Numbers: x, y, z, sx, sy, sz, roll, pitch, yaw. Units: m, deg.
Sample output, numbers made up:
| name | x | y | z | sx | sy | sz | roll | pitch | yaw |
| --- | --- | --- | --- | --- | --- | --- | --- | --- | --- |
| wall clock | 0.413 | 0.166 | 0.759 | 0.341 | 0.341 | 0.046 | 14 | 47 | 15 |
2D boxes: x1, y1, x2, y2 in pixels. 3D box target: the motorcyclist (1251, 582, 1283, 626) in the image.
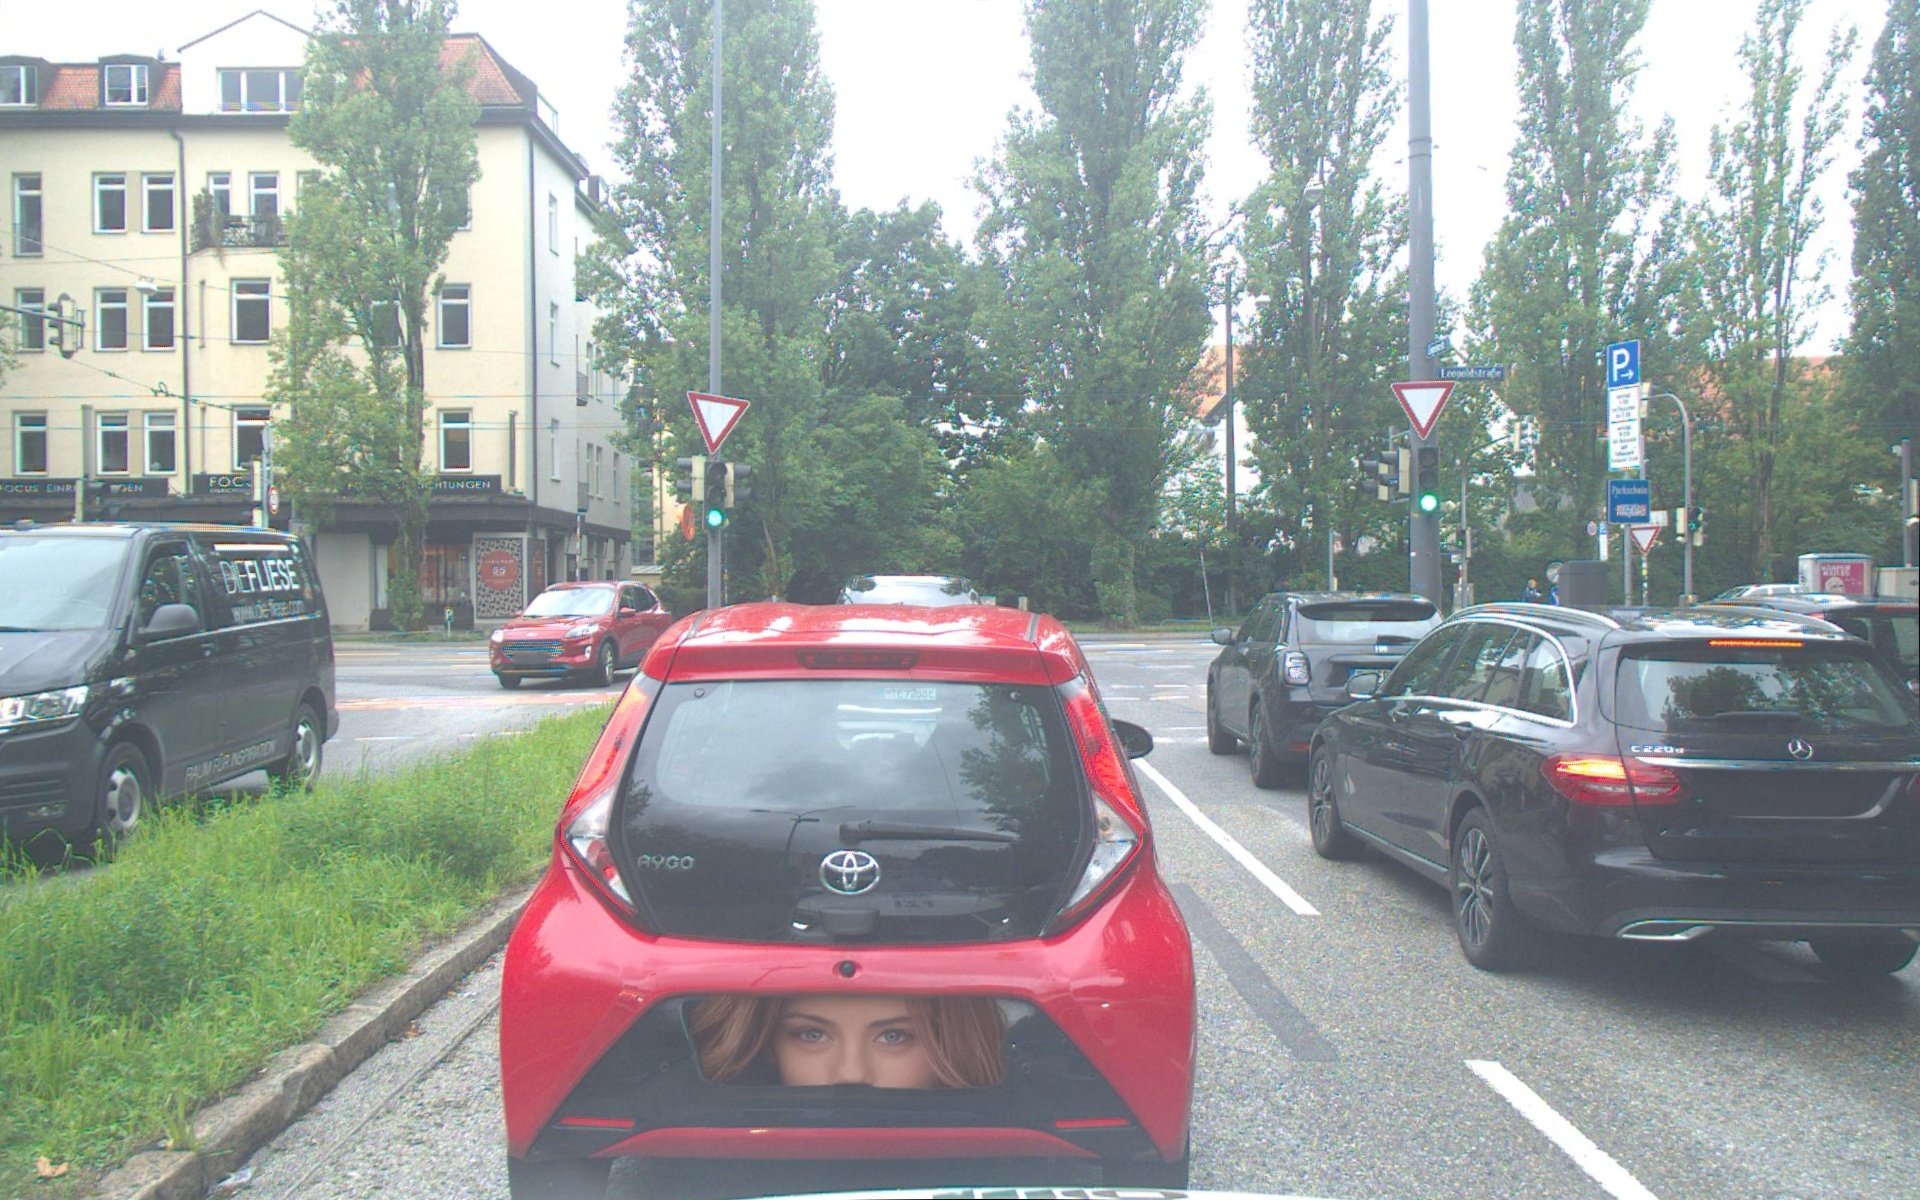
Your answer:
| name | x | y | z | sx | sy | sz | roll | pitch | yaw |
| --- | --- | --- | --- | --- | --- | --- | --- | --- | --- |
| motorcyclist | 10.202 | 0.136 | 54.901 | 0.863 | 1.468 | 0.619 | 1 | -1 | 31 |

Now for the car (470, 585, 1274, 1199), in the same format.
| name | x | y | z | sx | sy | sz | roll | pitch | yaw |
| --- | --- | --- | --- | --- | --- | --- | --- | --- | --- |
| car | -0.161 | 0.700 | 5.001 | 1.595 | 1.465 | 3.377 | -1 | 0 | 0 |

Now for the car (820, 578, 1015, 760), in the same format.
| name | x | y | z | sx | sy | sz | roll | pitch | yaw |
| --- | --- | --- | --- | --- | --- | --- | --- | --- | --- |
| car | -0.357 | 0.587 | 16.840 | 1.700 | 1.576 | 4.576 | -1 | 0 | 0 |

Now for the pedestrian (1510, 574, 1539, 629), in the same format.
| name | x | y | z | sx | sy | sz | roll | pitch | yaw |
| --- | --- | --- | --- | --- | --- | --- | --- | --- | --- |
| pedestrian | 17.584 | 0.050 | 51.528 | 0.689 | 1.692 | 0.549 | 0 | -1 | 39 |

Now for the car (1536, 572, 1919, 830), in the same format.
| name | x | y | z | sx | sy | sz | roll | pitch | yaw |
| --- | --- | --- | --- | --- | --- | --- | --- | --- | --- |
| car | 6.035 | 0.599 | 12.477 | 1.793 | 1.576 | 4.554 | -1 | 0 | 0 |

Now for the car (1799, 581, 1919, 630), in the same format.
| name | x | y | z | sx | sy | sz | roll | pitch | yaw |
| --- | --- | --- | --- | --- | --- | --- | --- | --- | --- |
| car | 29.713 | 0.162 | 53.583 | 4.160 | 1.512 | 1.786 | -1 | 0 | -3 |

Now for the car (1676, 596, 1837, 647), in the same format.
| name | x | y | z | sx | sy | sz | roll | pitch | yaw |
| --- | --- | --- | --- | --- | --- | --- | --- | --- | --- |
| car | 25.303 | 0.673 | 52.629 | 4.251 | 1.512 | 1.786 | -1 | 0 | -3 |

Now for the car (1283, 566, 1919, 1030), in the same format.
| name | x | y | z | sx | sy | sz | roll | pitch | yaw |
| --- | --- | --- | --- | --- | --- | --- | --- | --- | --- |
| car | 2.973 | 0.672 | 8.045 | 1.825 | 1.576 | 4.703 | 1 | 0 | -1 |

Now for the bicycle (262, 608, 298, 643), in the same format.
| name | x | y | z | sx | sy | sz | roll | pitch | yaw |
| --- | --- | --- | --- | --- | --- | --- | --- | --- | --- |
| bicycle | -21.818 | 0.810 | 53.074 | 0.485 | 1.100 | 1.888 | -1 | 0 | -4 |

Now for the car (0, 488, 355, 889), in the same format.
| name | x | y | z | sx | sy | sz | roll | pitch | yaw |
| --- | --- | --- | --- | --- | --- | --- | --- | --- | --- |
| car | -5.547 | 0.443 | 10.667 | 1.820 | 2.025 | 4.701 | -1 | 0 | -4 |

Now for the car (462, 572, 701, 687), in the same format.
| name | x | y | z | sx | sy | sz | roll | pitch | yaw |
| --- | --- | --- | --- | --- | --- | --- | --- | --- | --- |
| car | -6.194 | 0.411 | 27.786 | 2.058 | 1.666 | 4.944 | -1 | 1 | 11 |

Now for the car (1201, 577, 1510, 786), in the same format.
| name | x | y | z | sx | sy | sz | roll | pitch | yaw |
| --- | --- | --- | --- | --- | --- | --- | --- | --- | --- |
| car | 3.206 | 0.600 | 14.185 | 1.744 | 1.512 | 4.000 | -1 | 0 | 1 |

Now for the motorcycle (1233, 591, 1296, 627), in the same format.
| name | x | y | z | sx | sy | sz | roll | pitch | yaw |
| --- | --- | --- | --- | --- | --- | --- | --- | --- | --- |
| motorcycle | 10.112 | 0.294 | 54.965 | 1.986 | 1.190 | 0.629 | 1 | -1 | 32 |
